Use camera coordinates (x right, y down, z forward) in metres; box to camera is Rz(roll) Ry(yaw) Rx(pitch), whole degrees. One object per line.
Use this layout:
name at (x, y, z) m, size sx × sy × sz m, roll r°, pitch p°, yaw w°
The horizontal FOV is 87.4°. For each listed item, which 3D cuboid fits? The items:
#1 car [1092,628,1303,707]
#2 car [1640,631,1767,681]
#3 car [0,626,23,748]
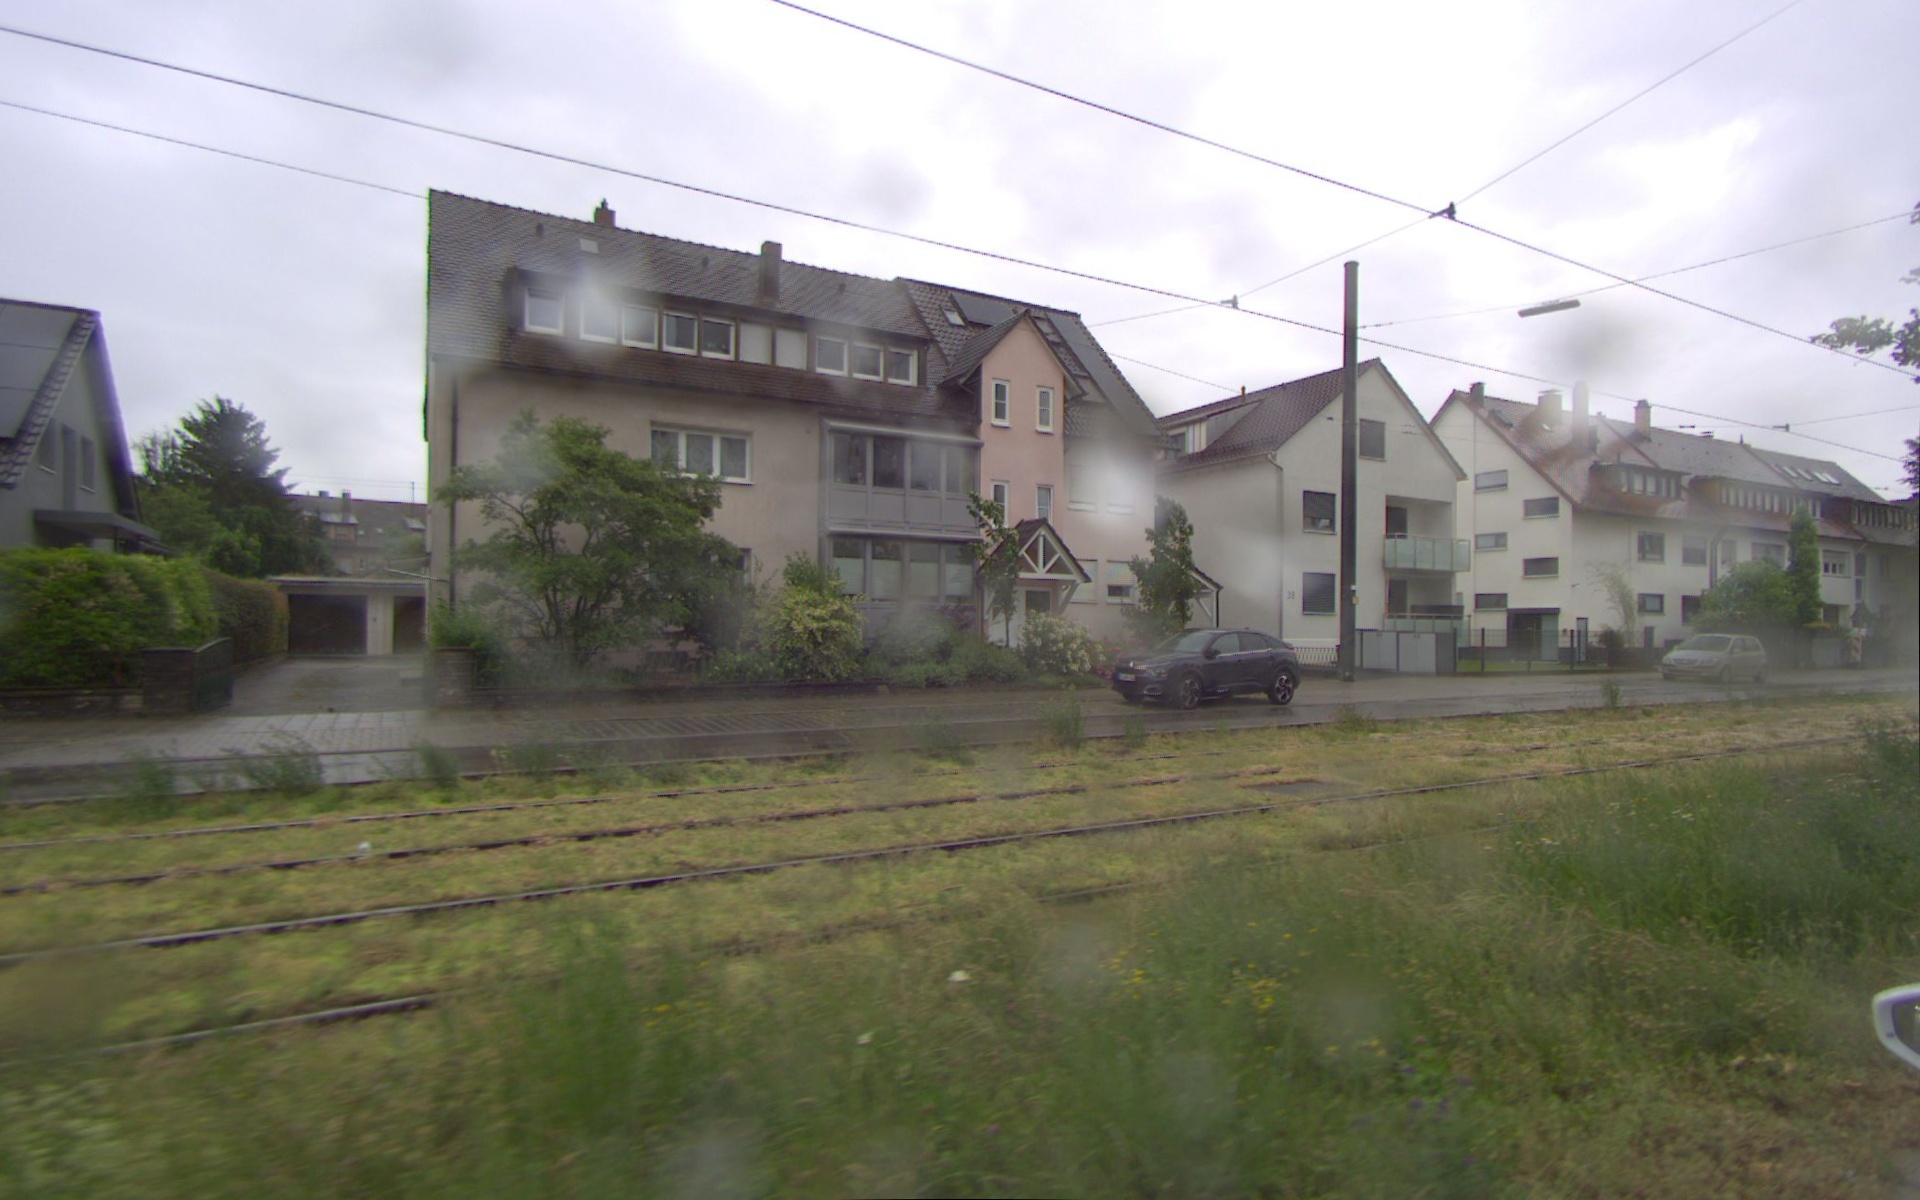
car at (4.928, 1.364, 20.697) m, size 4.127 × 1.445 × 1.827 m, roll 2°, pitch -1°, yaw -31°
car at (23.428, 1.751, 31.659) m, size 3.616 × 1.432 × 1.984 m, roll 2°, pitch -1°, yaw -31°
car at (-12.605, 0.955, 10.435) m, size 3.800 × 1.391 × 1.983 m, roll 2°, pitch -1°, yaw -31°
